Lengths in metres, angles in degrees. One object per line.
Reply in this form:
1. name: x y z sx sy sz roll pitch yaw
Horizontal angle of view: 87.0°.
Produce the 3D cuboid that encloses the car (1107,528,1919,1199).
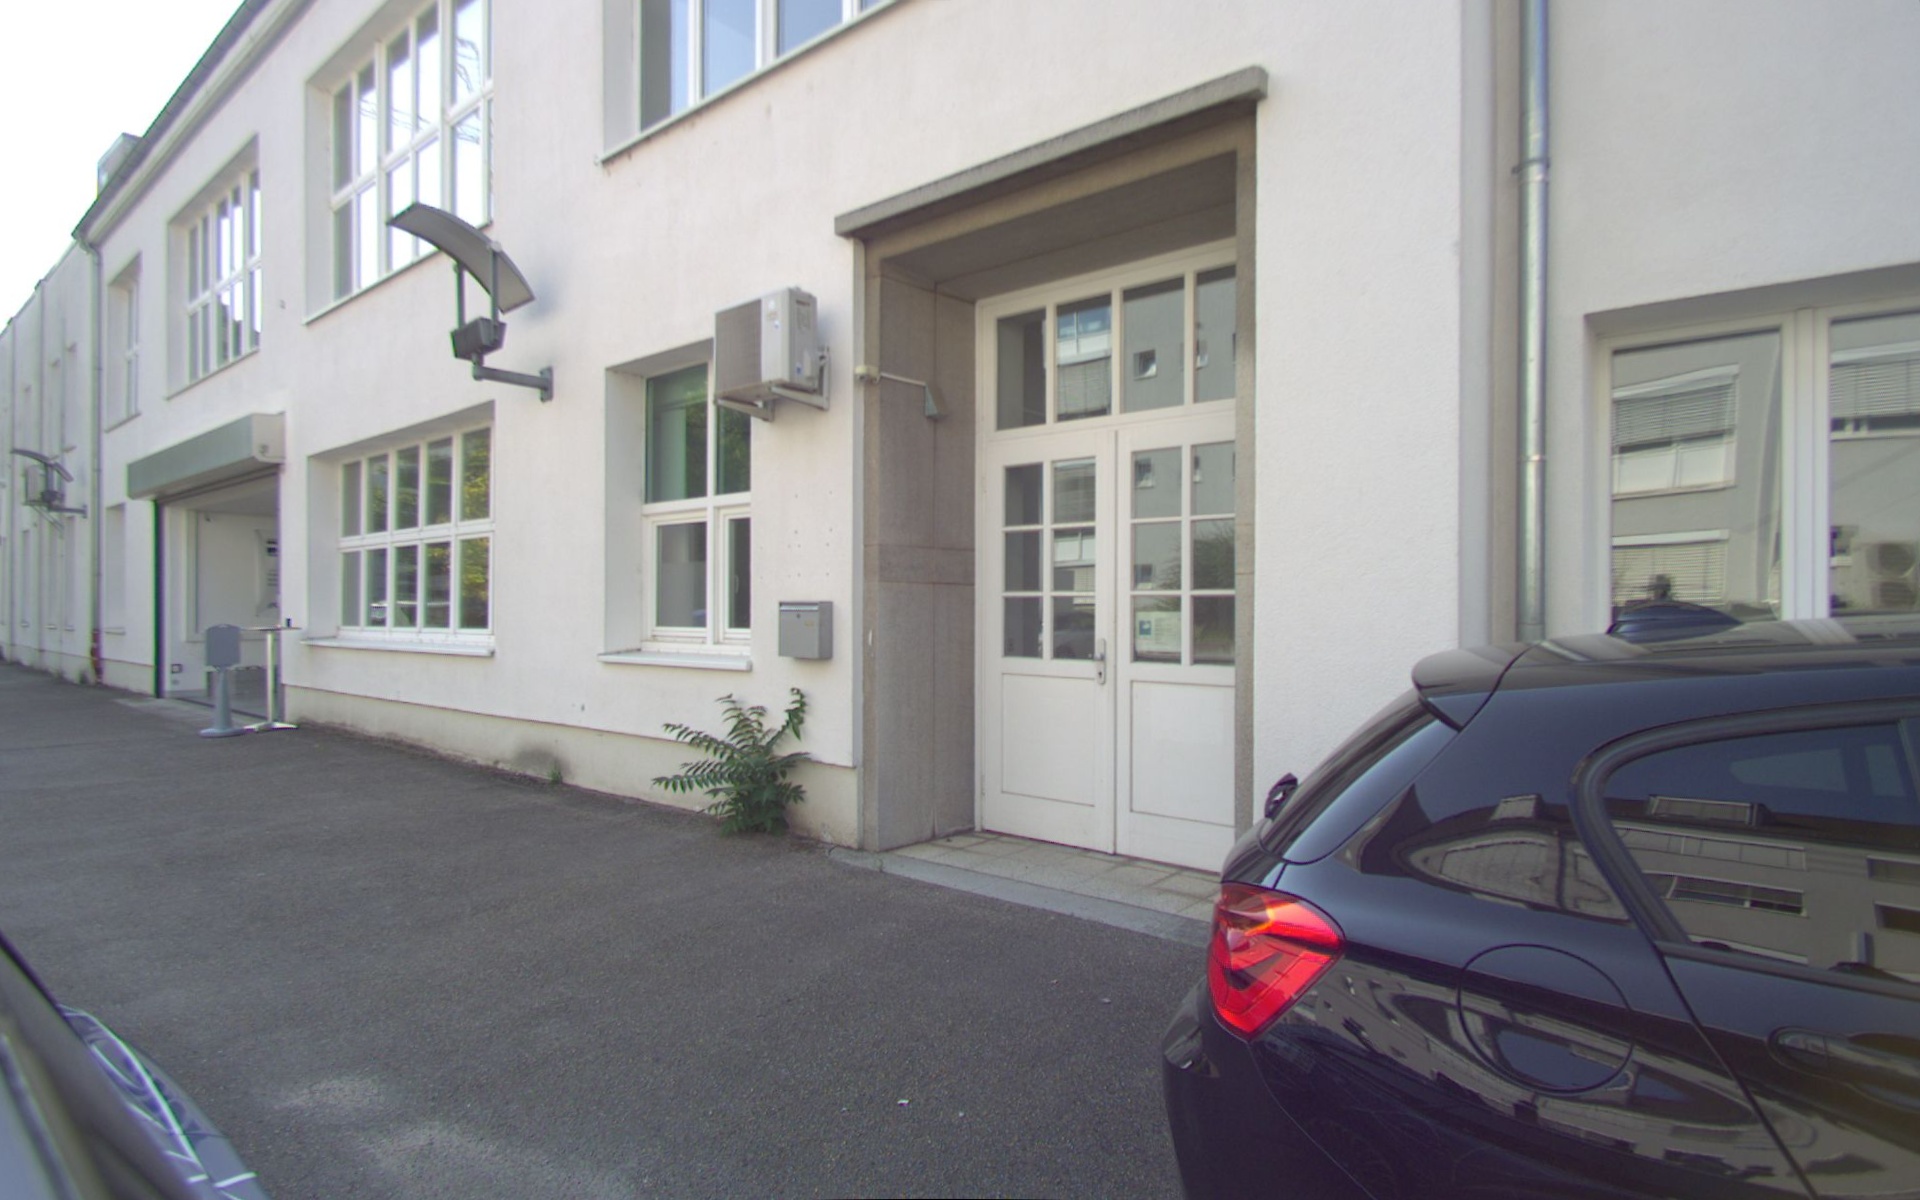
1. car: 2.394 0.632 0.979 4.130 1.439 1.776 -1 0 38
